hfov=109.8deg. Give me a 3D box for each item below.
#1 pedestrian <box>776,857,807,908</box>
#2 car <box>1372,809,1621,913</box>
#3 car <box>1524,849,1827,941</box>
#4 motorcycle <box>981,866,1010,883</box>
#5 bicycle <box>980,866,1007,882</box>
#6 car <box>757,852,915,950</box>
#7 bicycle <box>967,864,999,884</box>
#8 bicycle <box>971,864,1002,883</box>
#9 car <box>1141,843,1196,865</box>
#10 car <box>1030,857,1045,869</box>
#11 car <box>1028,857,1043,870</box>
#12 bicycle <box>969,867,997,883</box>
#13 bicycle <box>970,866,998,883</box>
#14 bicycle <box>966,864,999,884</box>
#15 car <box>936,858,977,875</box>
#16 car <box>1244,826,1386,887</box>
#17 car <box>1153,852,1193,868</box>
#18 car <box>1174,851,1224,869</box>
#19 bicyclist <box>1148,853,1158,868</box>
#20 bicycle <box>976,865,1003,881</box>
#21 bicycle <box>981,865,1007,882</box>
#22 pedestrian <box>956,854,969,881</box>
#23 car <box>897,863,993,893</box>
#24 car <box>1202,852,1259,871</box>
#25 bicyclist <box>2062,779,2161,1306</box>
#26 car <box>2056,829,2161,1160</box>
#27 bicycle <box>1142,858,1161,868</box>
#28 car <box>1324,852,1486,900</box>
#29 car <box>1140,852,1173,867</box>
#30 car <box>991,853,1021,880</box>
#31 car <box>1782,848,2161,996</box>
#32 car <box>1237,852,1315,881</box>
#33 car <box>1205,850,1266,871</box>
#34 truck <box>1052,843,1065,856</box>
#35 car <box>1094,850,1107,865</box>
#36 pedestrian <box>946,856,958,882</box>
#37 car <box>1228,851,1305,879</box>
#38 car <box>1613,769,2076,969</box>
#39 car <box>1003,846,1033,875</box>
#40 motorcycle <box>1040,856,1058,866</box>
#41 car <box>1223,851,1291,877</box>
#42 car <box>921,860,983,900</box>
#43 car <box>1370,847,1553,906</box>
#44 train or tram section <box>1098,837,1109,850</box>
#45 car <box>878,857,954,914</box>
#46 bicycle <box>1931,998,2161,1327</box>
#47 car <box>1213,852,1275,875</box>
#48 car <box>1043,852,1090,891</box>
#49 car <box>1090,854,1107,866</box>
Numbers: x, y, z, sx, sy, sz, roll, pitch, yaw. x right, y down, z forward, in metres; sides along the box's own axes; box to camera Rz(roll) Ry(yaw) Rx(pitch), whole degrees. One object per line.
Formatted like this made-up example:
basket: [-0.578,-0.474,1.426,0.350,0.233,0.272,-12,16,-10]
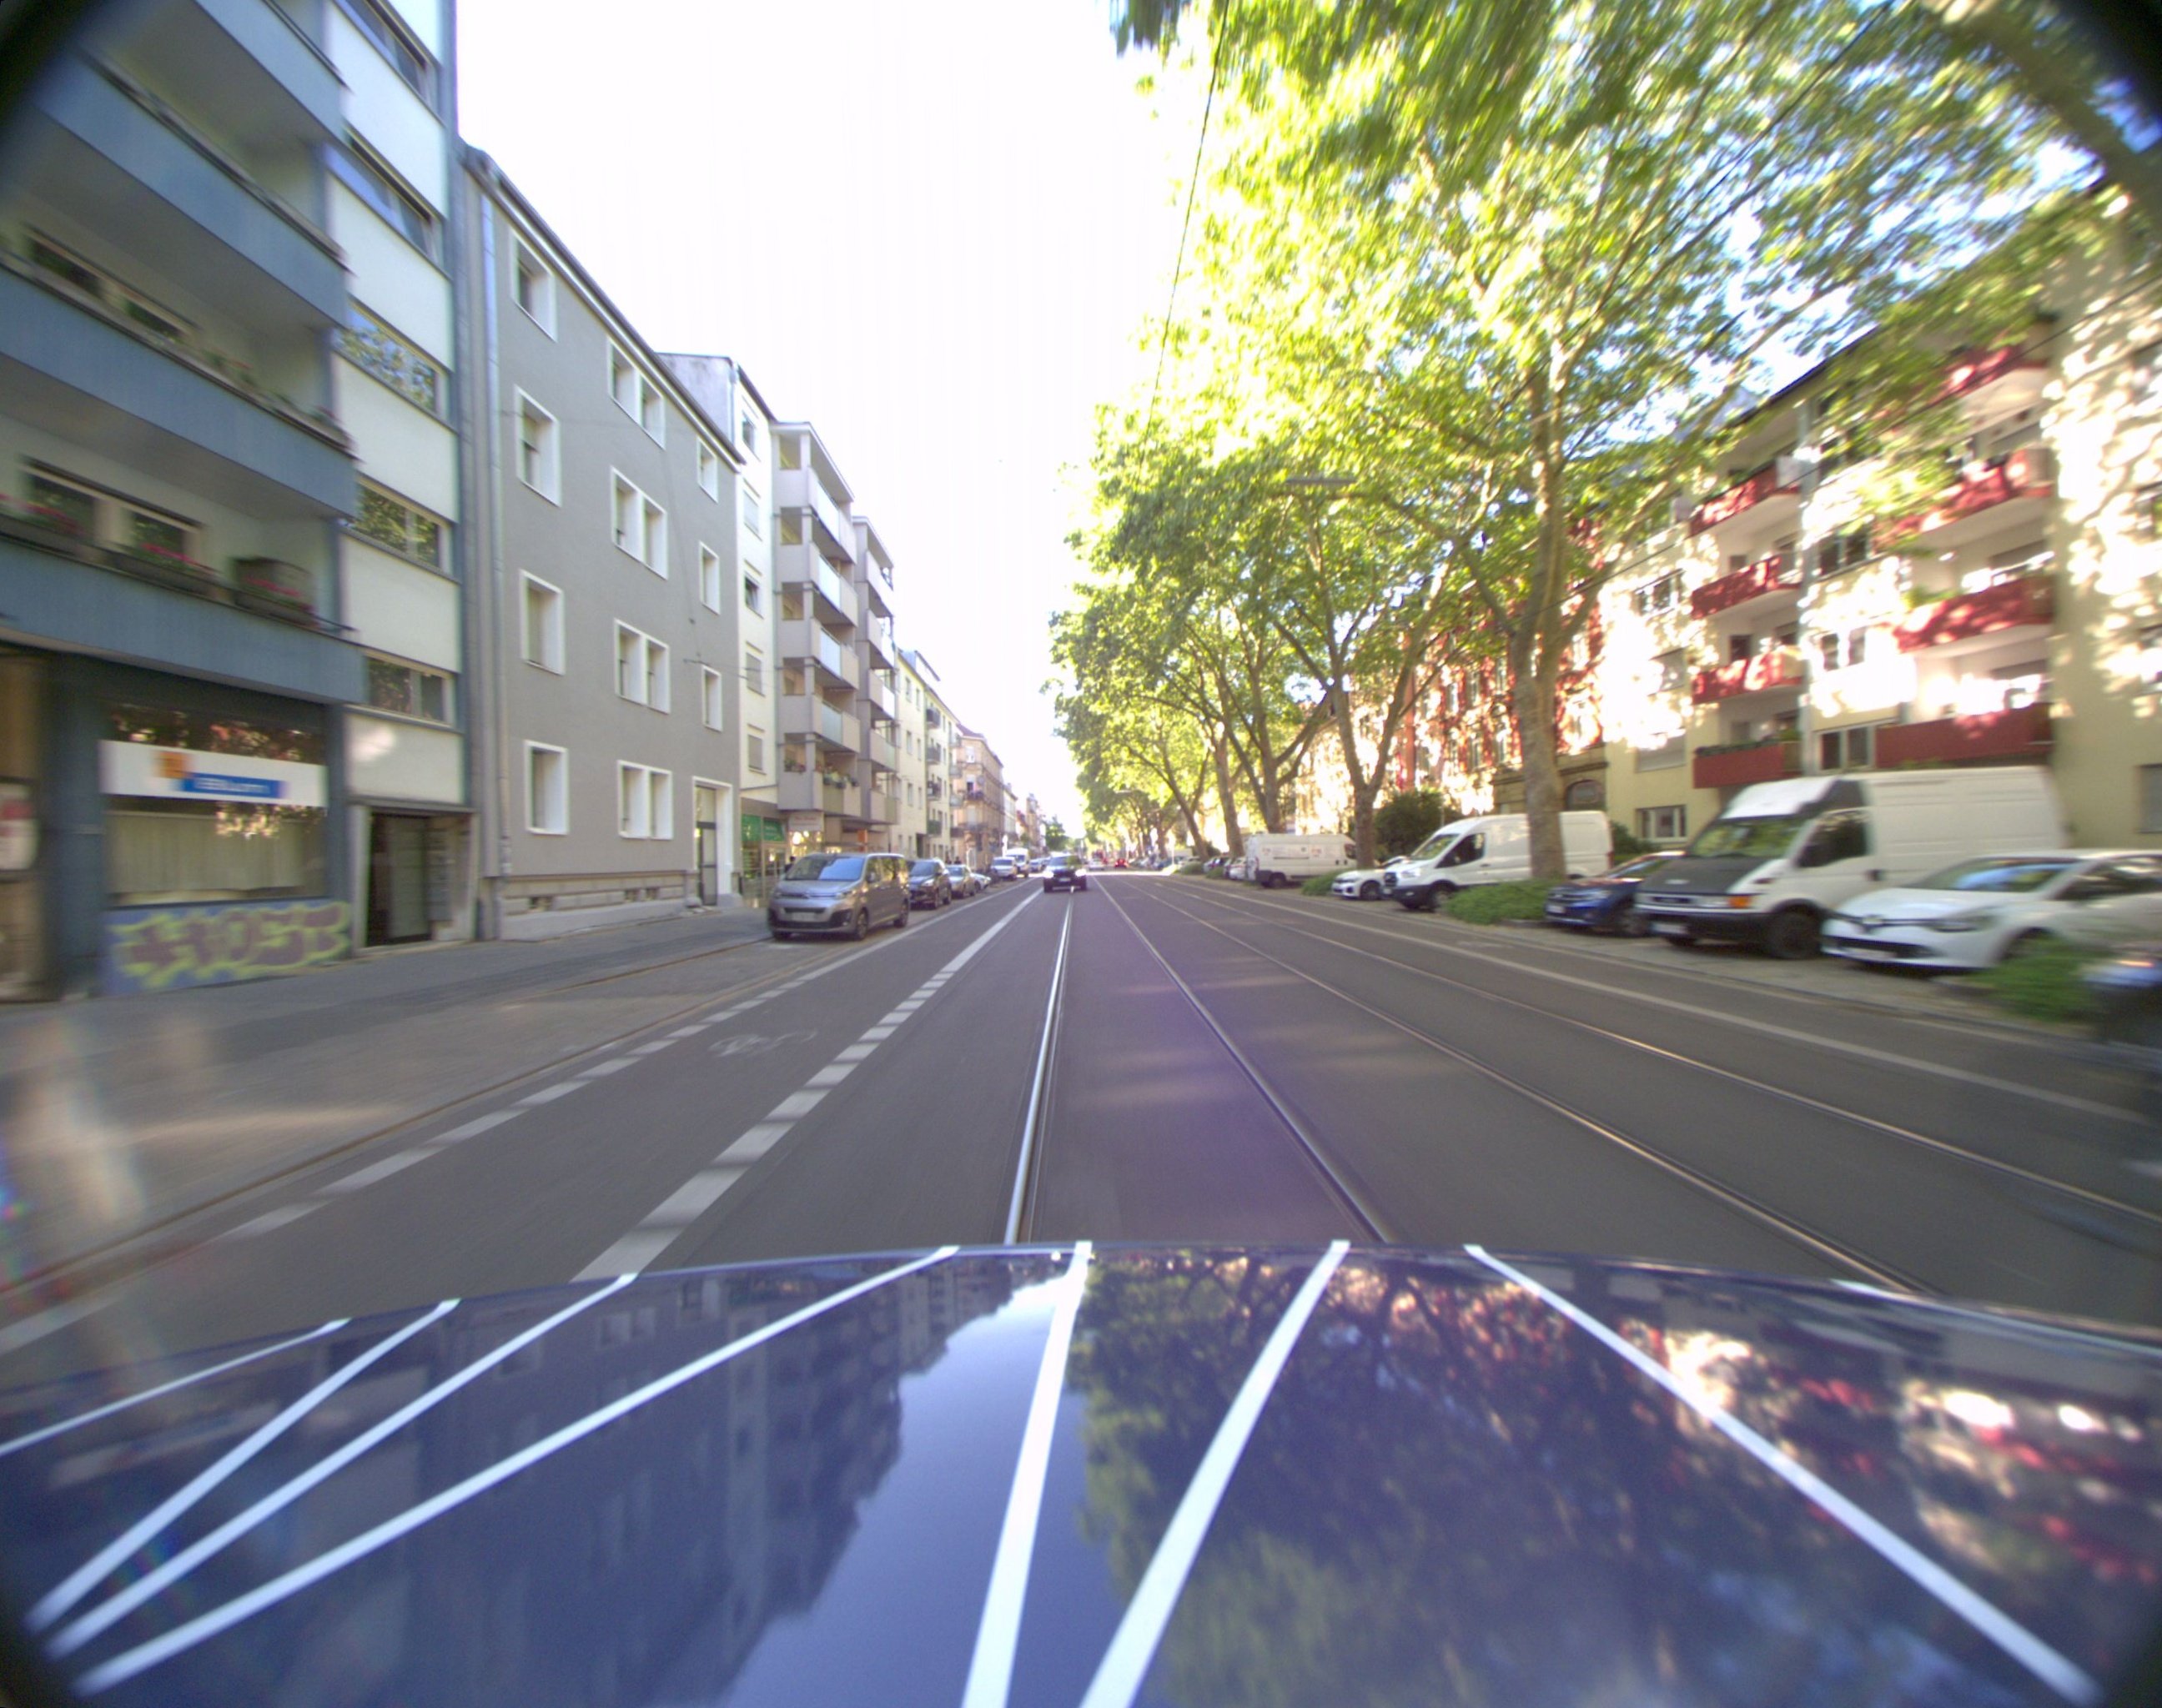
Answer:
pedestrian: [-10.016,0.972,26.288,0.758,1.710,0.720,-1,1,2]
car: [10.714,0.171,19.898,5.374,2.463,2.057,-1,0,0]
car: [10.633,0.702,13.833,4.029,1.457,1.872,-2,0,1]
motorcycle: [-5.650,1.352,50.186,1.820,1.074,0.618,0,1,23]
bicycle: [-5.622,1.260,48.731,1.657,0.981,0.457,1,1,0]
car: [-5.354,0.922,17.405,1.863,1.879,4.925,-1,0,2]
bicycle: [-5.900,1.186,45.703,1.828,1.184,0.457,1,1,0]
bicycle: [-5.871,1.202,47.318,1.798,1.141,0.704,1,1,0]
car: [11.024,0.018,96.438,6.618,2.393,2.000,-3,0,0]
car: [-5.369,1.127,94.956,1.606,1.412,4.012,1,1,0]
car: [-5.292,1.136,89.175,1.653,1.412,4.058,1,1,-2]
bicycle: [-5.942,1.270,46.203,1.657,0.960,0.457,1,1,0]
bicycle: [-5.943,1.257,46.695,1.657,1.015,0.457,1,1,0]
bicycle: [-5.881,1.194,45.220,1.897,1.184,0.457,1,1,0]
car: [-12.417,1.242,75.795,3.659,1.565,1.790,-3,1,2]
car: [10.535,0.115,34.574,5.755,2.521,2.162,-2,0,0]
car: [10.519,0.658,87.162,4.331,1.702,1.816,-1,0,-3]
car: [10.134,0.539,65.314,3.997,1.452,1.879,-1,0,-1]
bicyclist: [7.657,0.668,80.618,0.870,1.517,0.735,-1,0,-19]
bicycle: [-5.788,1.224,48.108,1.657,0.981,0.457,1,1,0]
bicycle: [-5.625,1.240,49.227,1.657,1.049,0.457,1,1,0]
pedestrian: [-8.293,0.930,53.041,0.711,1.812,1.082,0,1,2]
car: [-6.775,1.161,38.030,4.630,1.429,1.863,0,0,-11]
car: [11.509,0.578,58.448,3.999,1.361,1.604,-1,0,-5]
bicyclist: [3.813,0.590,2.171,0.786,1.668,0.957,-1,1,-3]
car: [6.531,0.738,2.054,1.998,1.690,4.484,1,0,0]
bicycle: [7.428,0.931,80.526,1.878,1.025,0.627,-1,0,-18]
car: [10.474,0.682,24.803,4.421,1.376,1.933,-2,0,0]
car: [11.031,0.810,110.801,4.637,1.896,1.923,-3,0,5]
car: [-5.623,0.926,57.638,1.863,1.810,4.349,2,1,-1]
car: [10.988,0.701,8.896,3.864,1.469,1.860,-1,0,-1]
car: [10.589,0.673,41.468,3.817,1.424,1.704,-1,0,2]
car: [11.292,0.478,55.562,4.000,1.452,1.769,-1,0,-9]
truck: [-5.642,-1.155,192.617,2.842,3.145,7.291,-3,1,0]
car: [3.052,0.537,120.769,1.922,2.214,4.960,-1,0,1]
pedestrian: [-8.991,1.043,53.058,0.626,1.812,1.082,0,1,2]
car: [10.674,0.637,44.012,3.997,1.487,1.830,-1,0,1]
car: [11.017,0.177,11.215,4.958,2.552,2.081,-1,1,-4]
car: [-5.598,0.538,67.909,2.154,2.481,6.087,-2,0,0]
motorcycle: [-4.177,0.913,98.999,2.143,1.281,0.642,-2,1,-22]
car: [10.757,0.603,46.676,3.803,1.452,1.704,-1,0,1]
car: [-5.503,1.075,32.951,1.728,1.516,4.513,-1,0,2]
car: [11.015,0.628,22.223,4.382,1.530,1.872,-2,0,0]
train or tram section: [6.737,-3.218,224.999,2.944,3.598,11.061,-3,1,1]
car: [-5.501,0.986,25.855,1.771,1.695,4.282,-1,0,-2]
bicycle: [3.842,1.087,2.220,0.522,0.956,1.928,-1,0,-1]
car: [11.407,0.664,53.329,3.996,1.452,1.704,-1,0,2]
car: [-0.626,0.798,36.267,1.949,1.694,4.630,-1,0,2]
car: [2.090,0.669,91.620,1.722,1.351,4.469,-1,0,-2]
